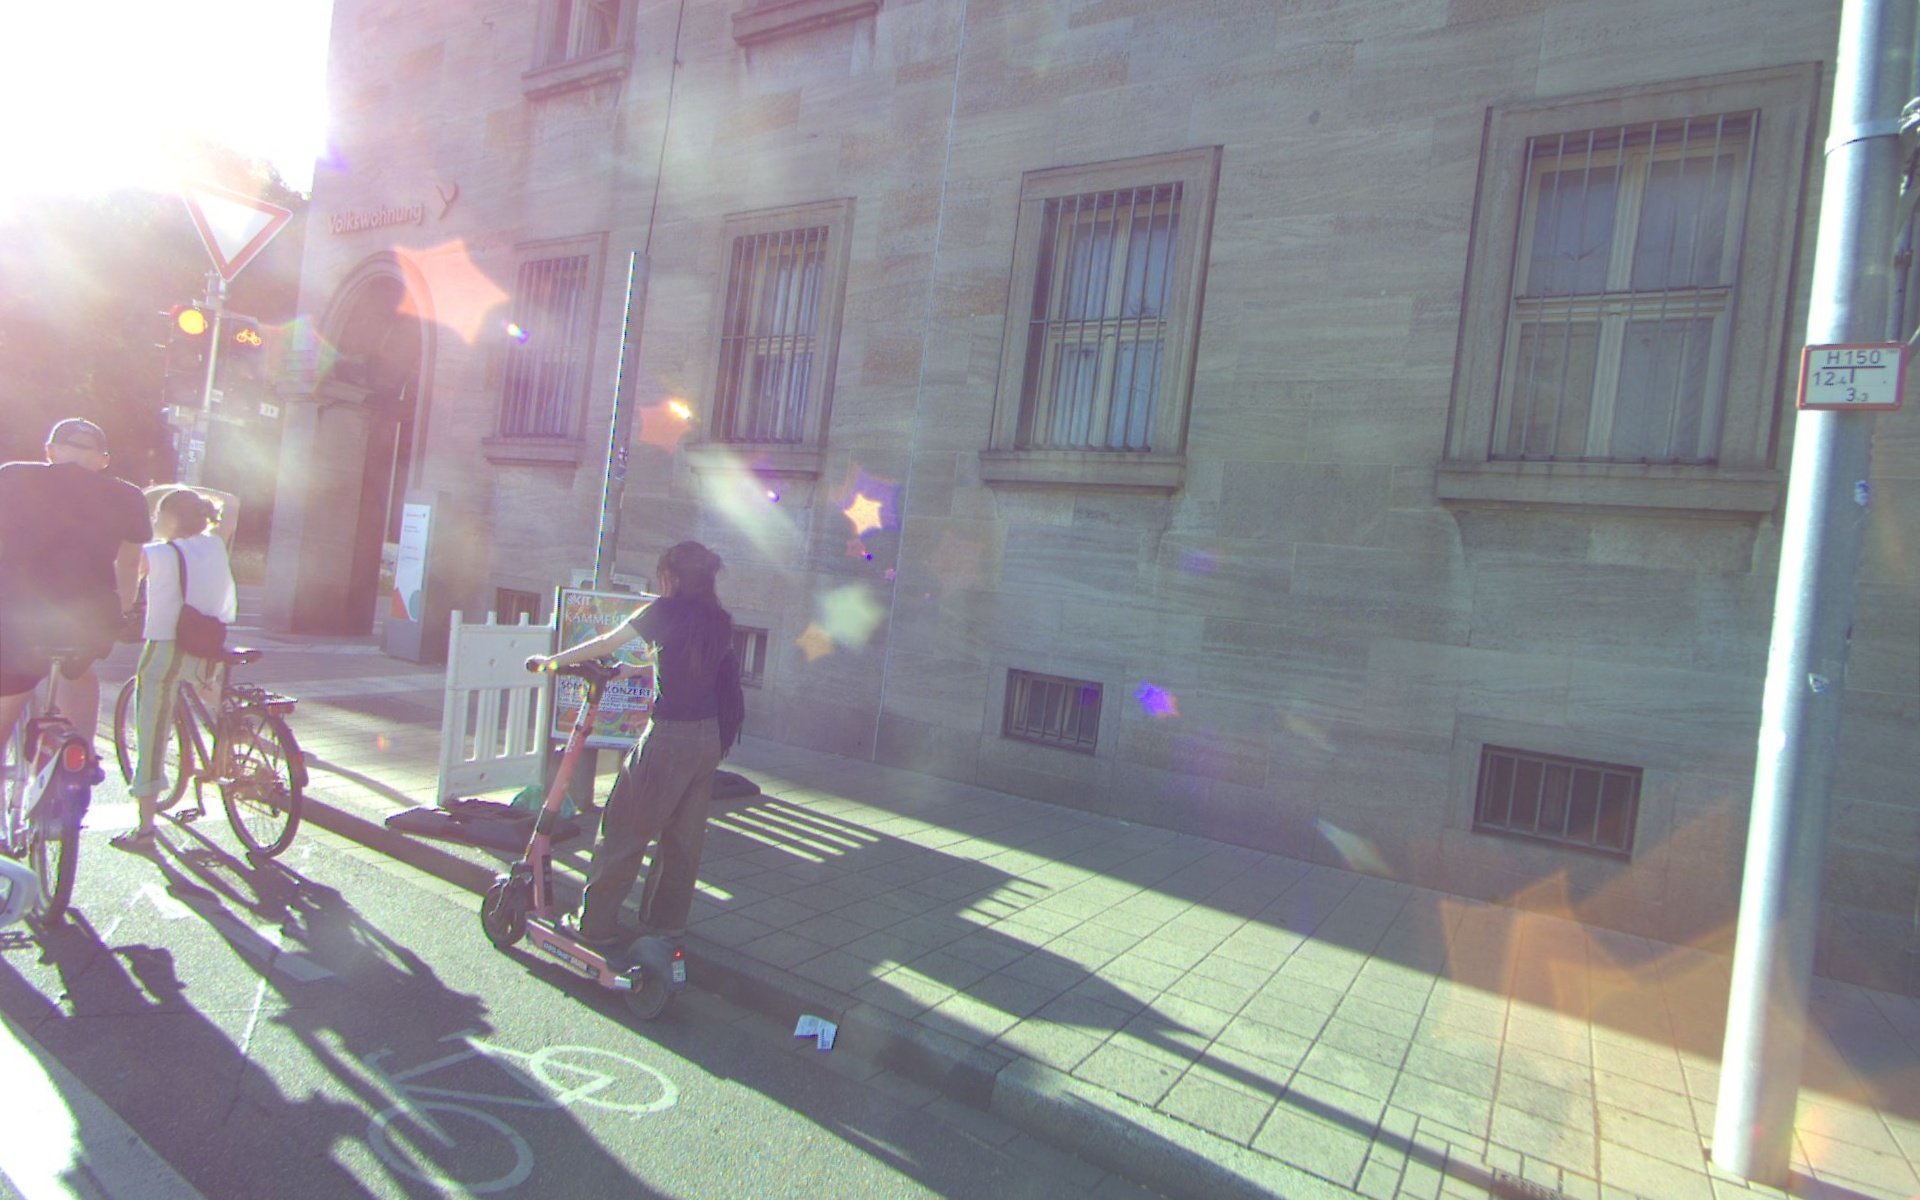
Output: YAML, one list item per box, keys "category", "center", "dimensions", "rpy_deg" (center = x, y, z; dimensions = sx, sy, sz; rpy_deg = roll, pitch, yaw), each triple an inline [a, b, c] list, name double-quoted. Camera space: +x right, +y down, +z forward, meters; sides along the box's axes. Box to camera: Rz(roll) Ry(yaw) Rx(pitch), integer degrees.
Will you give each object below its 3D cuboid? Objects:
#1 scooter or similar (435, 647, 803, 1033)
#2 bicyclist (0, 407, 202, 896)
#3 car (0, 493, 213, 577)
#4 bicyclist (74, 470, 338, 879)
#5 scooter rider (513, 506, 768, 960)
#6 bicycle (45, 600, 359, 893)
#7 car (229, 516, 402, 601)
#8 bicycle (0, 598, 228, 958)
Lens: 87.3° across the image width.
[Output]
- category: "scooter or similar"
  center: [-1.343, 0.842, 3.930]
  dimensions: [1.251, 1.163, 0.574]
  rpy_deg: [6, -1, 30]
- category: "bicyclist"
  center: [-3.658, 0.171, 3.976]
  dimensions: [0.897, 1.736, 0.624]
  rpy_deg: [7, 0, 31]
- category: "car"
  center: [-23.478, -1.746, 27.342]
  dimensions: [1.967, 1.533, 4.586]
  rpy_deg: [6, -2, 32]
- category: "bicyclist"
  center: [-3.642, 0.317, 4.857]
  dimensions: [0.934, 1.760, 0.584]
  rpy_deg: [7, 0, 32]
- category: "scooter rider"
  center: [-1.228, 0.481, 3.931]
  dimensions: [0.566, 1.581, 0.546]
  rpy_deg: [7, 0, 21]
- category: "bicycle"
  center: [-3.710, 0.630, 4.878]
  dimensions: [1.718, 1.057, 0.582]
  rpy_deg: [7, 0, 33]
- category: "car"
  center: [-20.277, -1.256, 31.797]
  dimensions: [1.968, 2.037, 3.994]
  rpy_deg: [6, -2, 33]
- category: "bicycle"
  center: [-3.721, 0.592, 3.982]
  dimensions: [1.717, 1.057, 0.624]
  rpy_deg: [7, 0, 31]
